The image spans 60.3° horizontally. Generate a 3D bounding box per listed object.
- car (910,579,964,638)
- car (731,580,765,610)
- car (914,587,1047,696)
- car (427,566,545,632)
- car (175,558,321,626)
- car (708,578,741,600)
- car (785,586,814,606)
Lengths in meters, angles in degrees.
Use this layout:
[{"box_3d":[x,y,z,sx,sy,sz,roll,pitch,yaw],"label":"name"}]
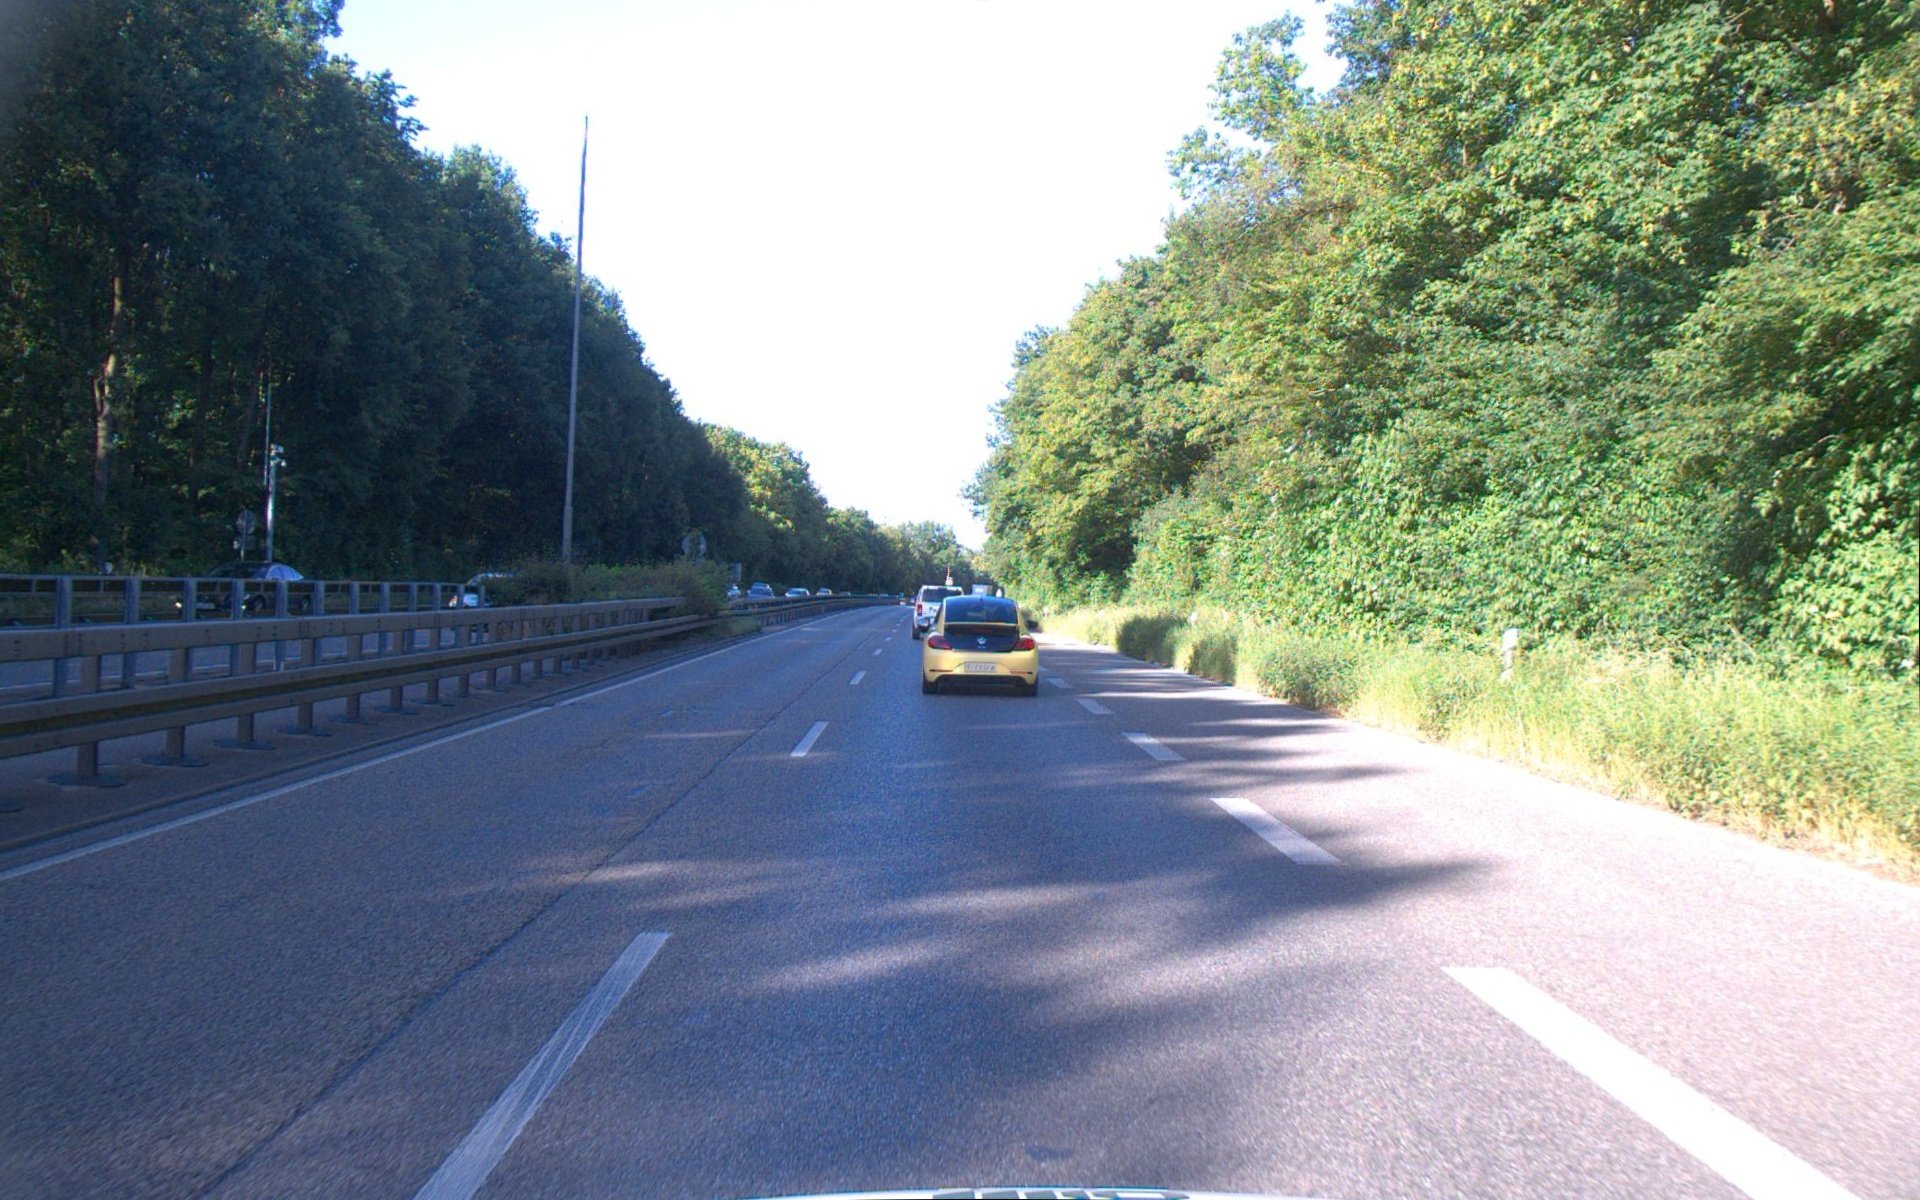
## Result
[{"box_3d":[-0.754,0.262,54.630,1.706,1.862,3.422,1,0,0],"label":"car"},{"box_3d":[-13.589,-0.310,106.179,1.752,1.892,3.999,1,0,-1],"label":"car"},{"box_3d":[0.372,0.607,25.819,1.899,1.534,3.423,1,0,2],"label":"car"},{"box_3d":[-11.784,-0.041,41.381,1.695,1.515,4.396,2,0,-1],"label":"car"},{"box_3d":[-17.468,-0.209,40.800,1.695,1.515,4.453,2,0,-1],"label":"car"},{"box_3d":[-18.288,-0.868,128.787,1.953,1.628,4.706,1,0,-1],"label":"car"},{"box_3d":[-12.892,-0.309,133.139,1.953,1.587,4.706,1,0,-1],"label":"car"}]
